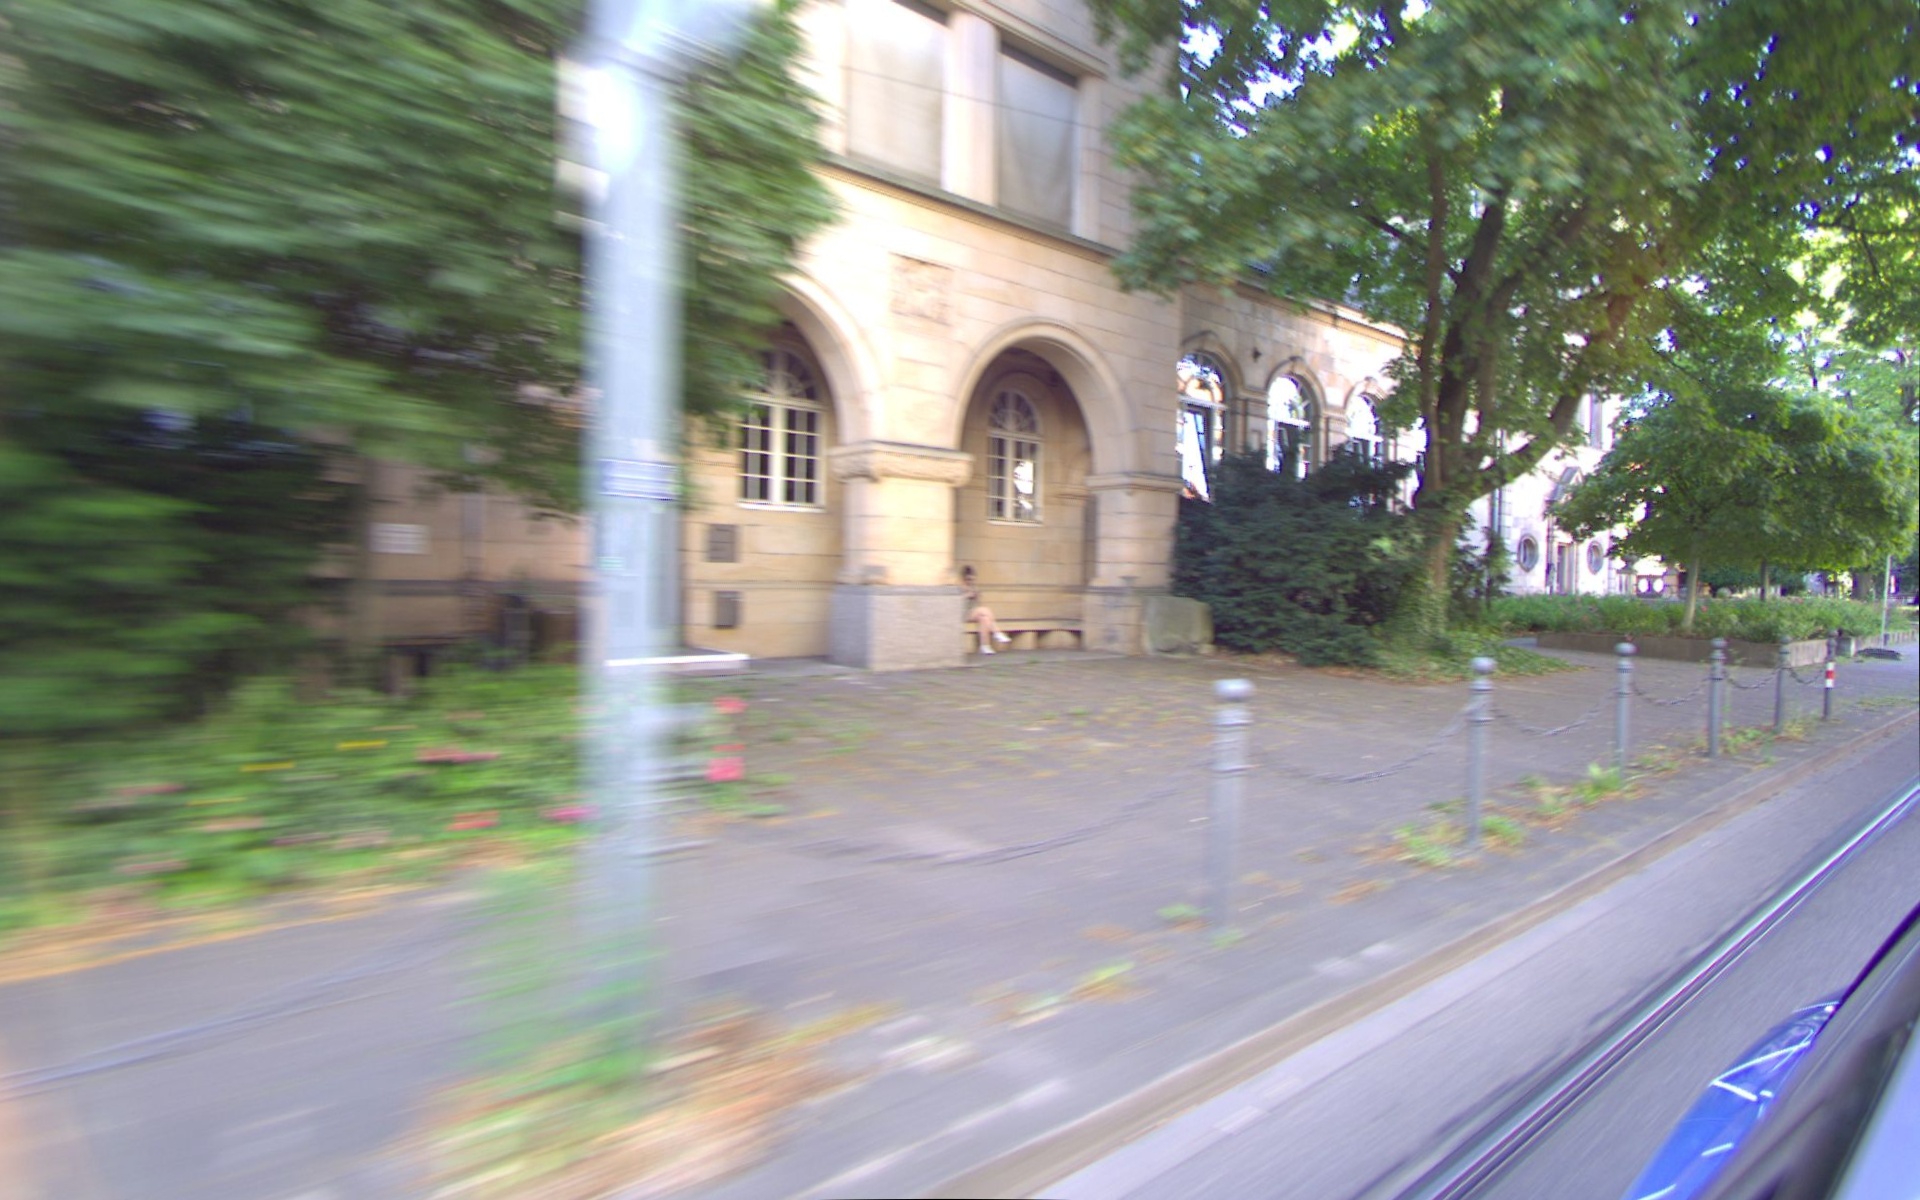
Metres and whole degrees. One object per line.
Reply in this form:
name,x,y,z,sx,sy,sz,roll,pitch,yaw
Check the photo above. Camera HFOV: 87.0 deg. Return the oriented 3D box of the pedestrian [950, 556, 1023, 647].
pedestrian,0.410,0.018,15.744,0.655,1.372,0.982,0,0,-38
